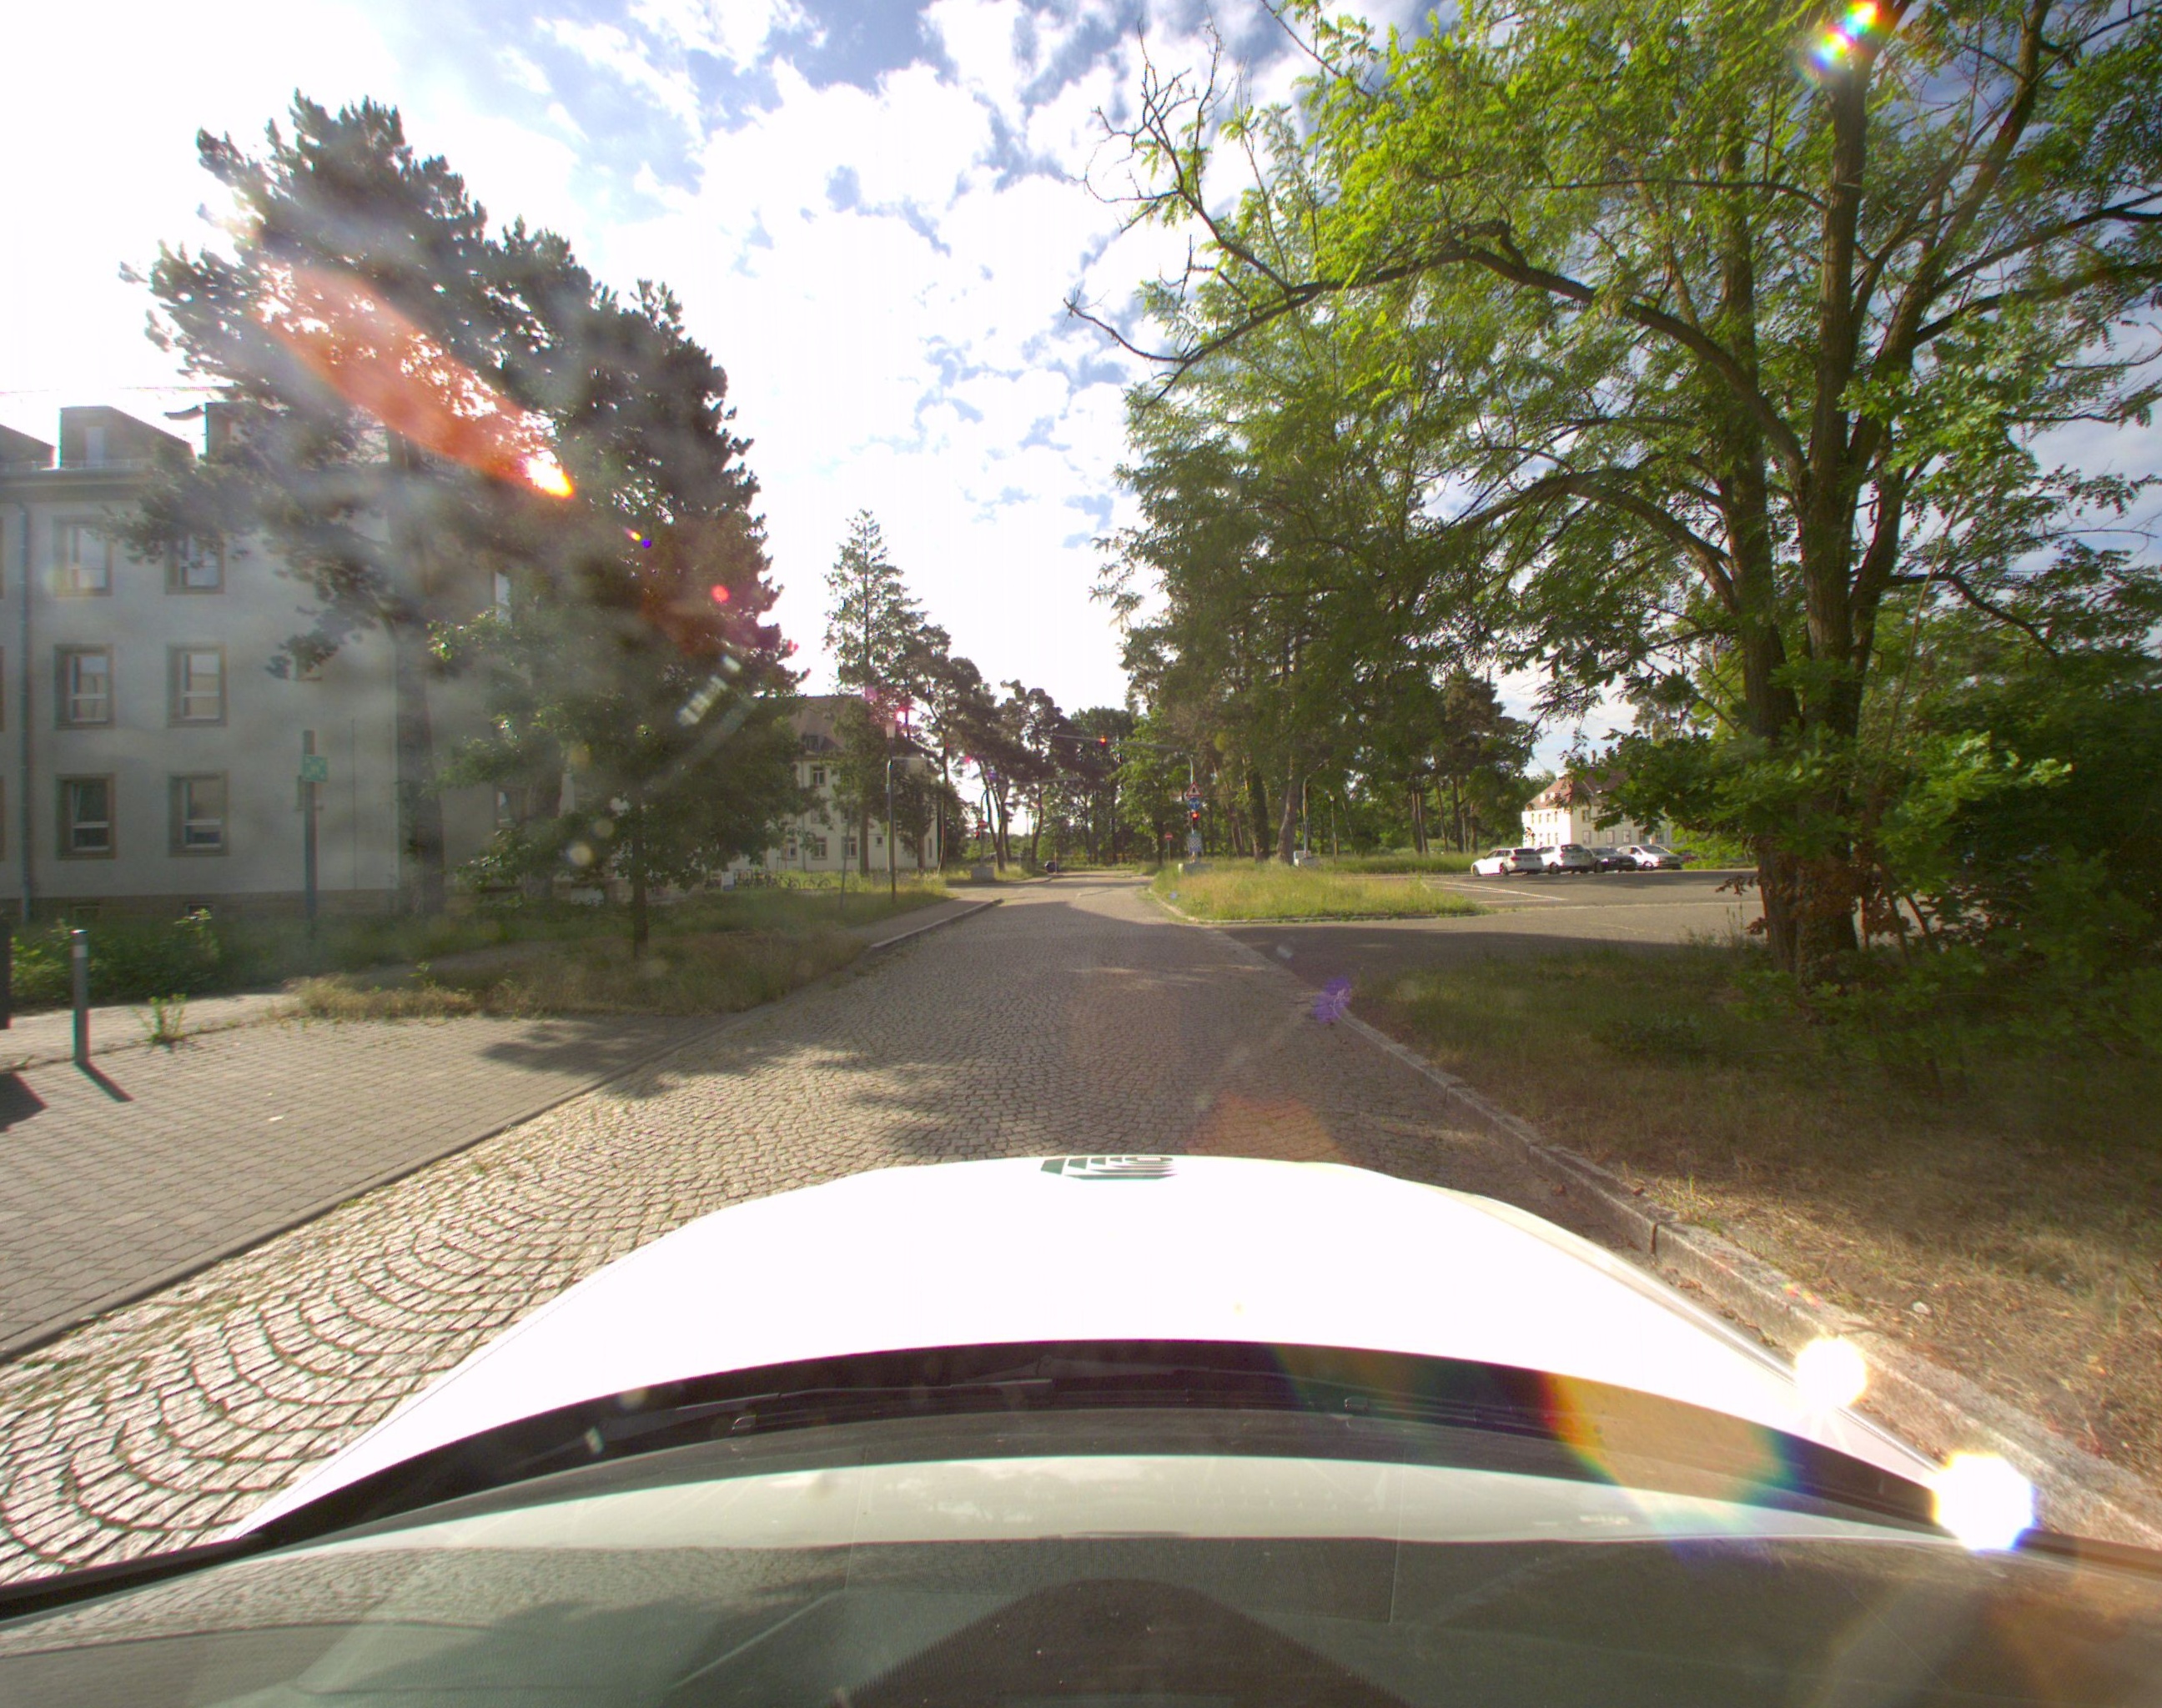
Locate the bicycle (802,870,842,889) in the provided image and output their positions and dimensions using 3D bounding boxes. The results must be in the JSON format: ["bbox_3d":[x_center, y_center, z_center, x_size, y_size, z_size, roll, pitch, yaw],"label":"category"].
[{"bbox_3d":[-15.503,1.543,48.852,2.112,1.047,0.828,-2,-1,-3],"label":"bicycle"}]

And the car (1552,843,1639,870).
[{"bbox_3d":[27.002,0.135,42.930,1.726,1.312,4.328,-2,0,-2],"label":"car"}]

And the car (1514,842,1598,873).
[{"bbox_3d":[24.704,0.204,42.556,1.726,1.476,4.328,-2,0,-2],"label":"car"}]

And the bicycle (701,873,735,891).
[{"bbox_3d":[-22.291,1.709,50.054,0.897,1.047,2.554,-2,0,1],"label":"bicycle"}]

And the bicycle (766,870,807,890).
[{"bbox_3d":[-17.626,1.552,48.773,2.112,1.108,0.828,-2,-1,-3],"label":"bicycle"}]

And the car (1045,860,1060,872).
[{"bbox_3d":[-3.660,1.509,106.240,1.840,1.486,3.998,-2,0,-1],"label":"car"}]

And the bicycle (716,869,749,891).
[{"bbox_3d":[-21.394,1.589,50.049,0.823,1.281,2.554,-2,0,1],"label":"bicycle"}]

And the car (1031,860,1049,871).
[{"bbox_3d":[-5.574,1.570,110.997,1.772,1.490,3.764,-2,0,8],"label":"car"}]

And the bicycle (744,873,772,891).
[{"bbox_3d":[-19.830,1.699,49.997,0.823,1.047,2.124,-2,0,1],"label":"bicycle"}]

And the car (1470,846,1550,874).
[{"bbox_3d":[22.185,0.300,42.267,1.726,1.312,4.328,-2,0,-2],"label":"car"}]

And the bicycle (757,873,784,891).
[{"bbox_3d":[-19.049,1.697,50.034,0.823,1.047,2.124,-2,0,1],"label":"bicycle"}]

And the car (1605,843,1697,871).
[{"bbox_3d":[30.059,0.159,43.100,1.726,1.312,4.328,-2,0,-2],"label":"car"}]

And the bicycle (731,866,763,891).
[{"bbox_3d":[-20.618,1.496,50.346,0.823,1.437,2.554,-2,0,1],"label":"bicycle"}]
